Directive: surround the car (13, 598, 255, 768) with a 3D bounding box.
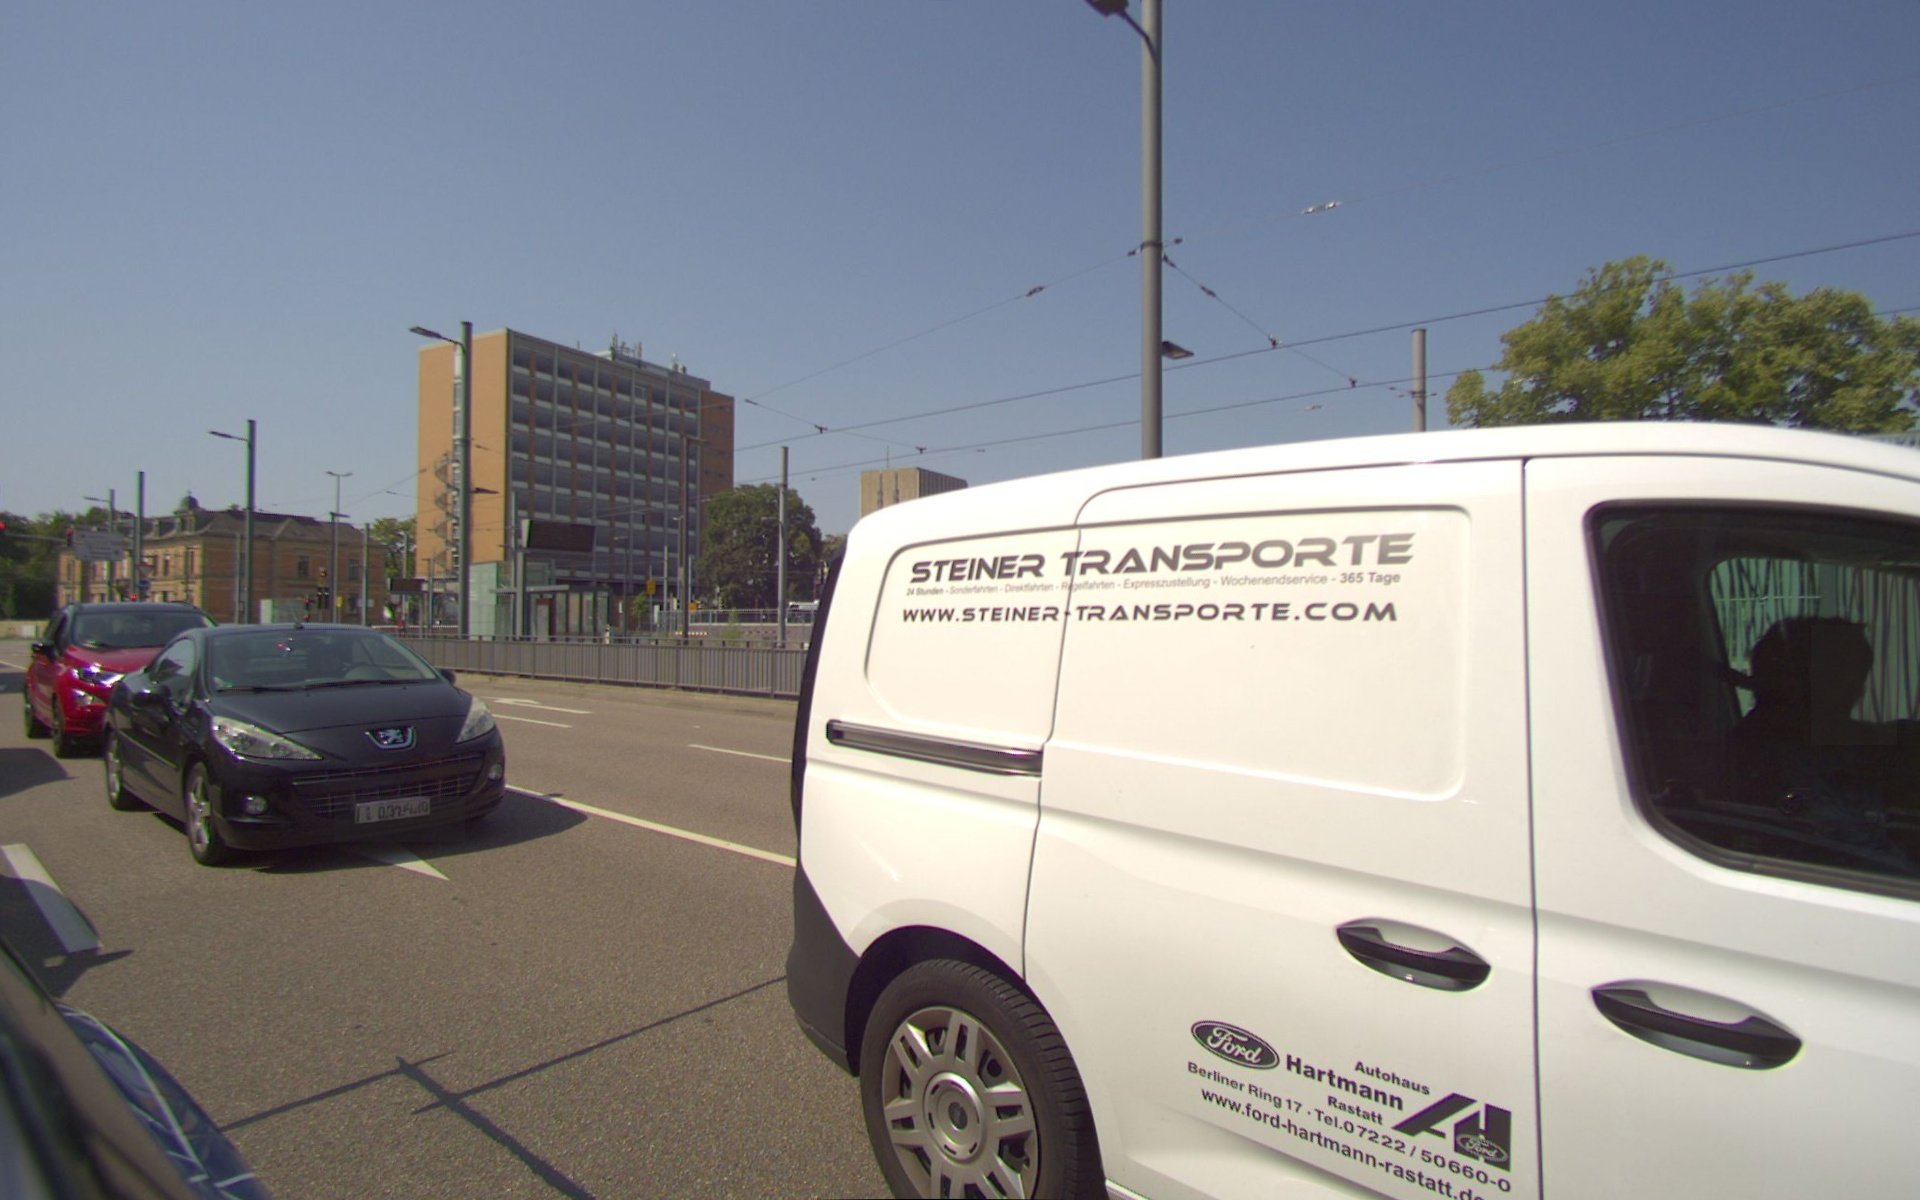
[{"bbox_3d":[-9.595,0.828,11.643,3.967,1.633,1.612,-1,-1,43],"label":"car"}]

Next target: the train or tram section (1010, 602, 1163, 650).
[{"bbox_3d":[10.242,2.134,82.211,12.180,3.794,2.002,0,-2,-4],"label":"train or tram section"}]

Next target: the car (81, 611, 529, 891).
[{"bbox_3d":[-4.739,0.818,7.107,3.799,1.424,1.671,-1,-1,41],"label":"car"}]

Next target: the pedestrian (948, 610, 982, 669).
[{"bbox_3d":[0.164,1.238,31.806,0.761,1.801,0.735,-2,-3,42],"label":"pedestrian"}]

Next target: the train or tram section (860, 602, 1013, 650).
[{"bbox_3d":[-1.903,2.117,81.309,12.180,3.794,2.002,0,-2,-4],"label":"train or tram section"}]

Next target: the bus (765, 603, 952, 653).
[{"bbox_3d":[-7.307,1.994,73.617,13.205,3.319,3.354,-1,0,-4],"label":"bus"}]

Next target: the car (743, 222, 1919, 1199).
[{"bbox_3d":[1.597,0.491,1.854,4.237,1.834,1.729,-1,-1,41],"label":"car"}]

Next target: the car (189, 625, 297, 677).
[{"bbox_3d":[-21.639,1.496,30.467,4.573,1.446,1.727,-1,-3,43],"label":"car"}]

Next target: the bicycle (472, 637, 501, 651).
[{"bbox_3d":[-38.772,3.591,82.901,2.149,1.109,0.666,-1,0,-28],"label":"bicycle"}]
